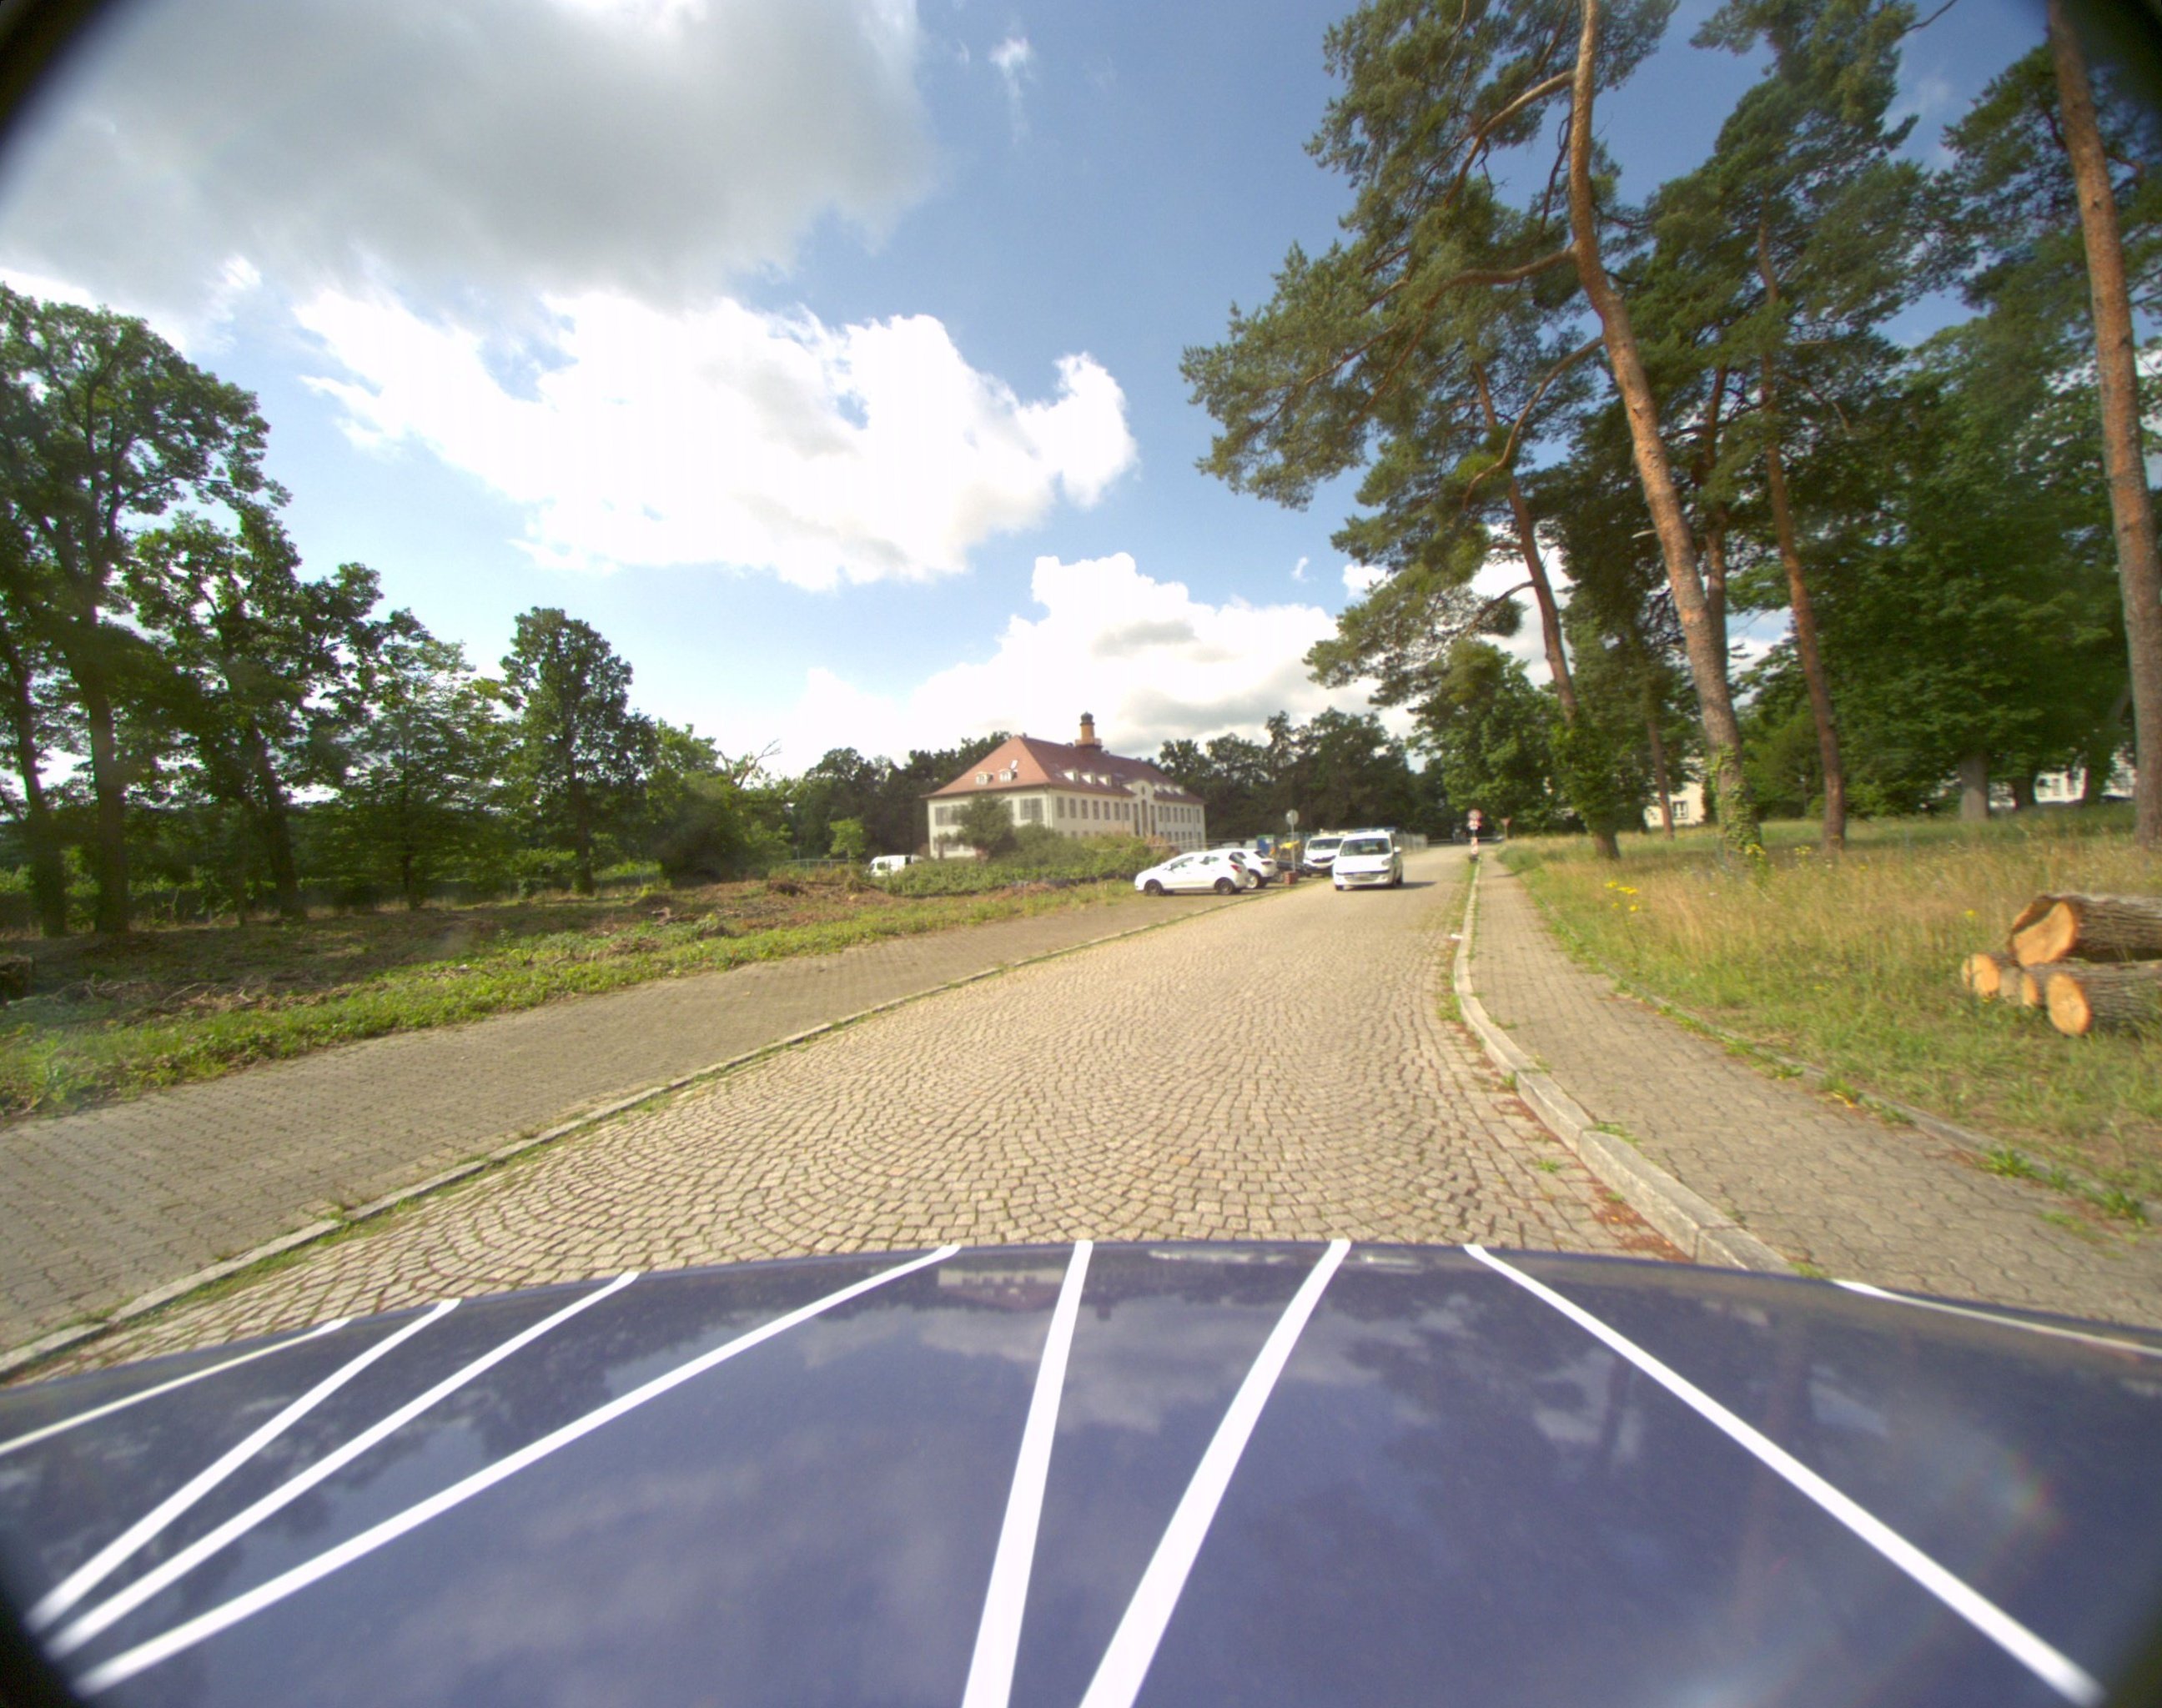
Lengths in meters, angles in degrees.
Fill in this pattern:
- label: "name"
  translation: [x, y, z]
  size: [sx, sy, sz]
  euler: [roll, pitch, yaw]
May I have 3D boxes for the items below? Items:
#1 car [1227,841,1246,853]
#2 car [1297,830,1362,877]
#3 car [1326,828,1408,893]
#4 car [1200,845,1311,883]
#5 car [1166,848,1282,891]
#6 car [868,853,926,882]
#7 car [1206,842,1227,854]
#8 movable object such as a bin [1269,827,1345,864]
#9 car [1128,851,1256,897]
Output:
- label: "car"
  translation: [25.005, -1.162, 122.332]
  size: [1.799, 1.674, 4.046]
  euler: [-3, 1, 29]
- label: "car"
  translation: [12.419, -0.079, 37.661]
  size: [1.915, 2.041, 5.688]
  euler: [-3, 1, 29]
- label: "car"
  translation: [9.416, 0.169, 24.753]
  size: [1.836, 1.857, 4.839]
  euler: [-3, -1, 28]
- label: "car"
  translation: [7.649, 0.442, 33.315]
  size: [4.457, 1.467, 1.748]
  euler: [-2, 1, 24]
- label: "car"
  translation: [5.493, 0.585, 29.221]
  size: [3.990, 1.498, 1.749]
  euler: [-2, 1, 25]
- label: "car"
  translation: [-17.832, 1.302, 73.527]
  size: [5.424, 2.576, 2.251]
  euler: [-3, 1, 36]
- label: "car"
  translation: [22.075, -1.030, 123.788]
  size: [1.881, 1.718, 4.715]
  euler: [-3, 1, 29]
- label: "movable object such as a bin"
  translation: [16.873, -0.633, 56.615]
  size: [5.665, 2.507, 2.144]
  euler: [-2, 0, -34]
- label: "car"
  translation: [3.886, 0.714, 26.617]
  size: [4.045, 1.455, 1.707]
  euler: [-2, 1, 25]
